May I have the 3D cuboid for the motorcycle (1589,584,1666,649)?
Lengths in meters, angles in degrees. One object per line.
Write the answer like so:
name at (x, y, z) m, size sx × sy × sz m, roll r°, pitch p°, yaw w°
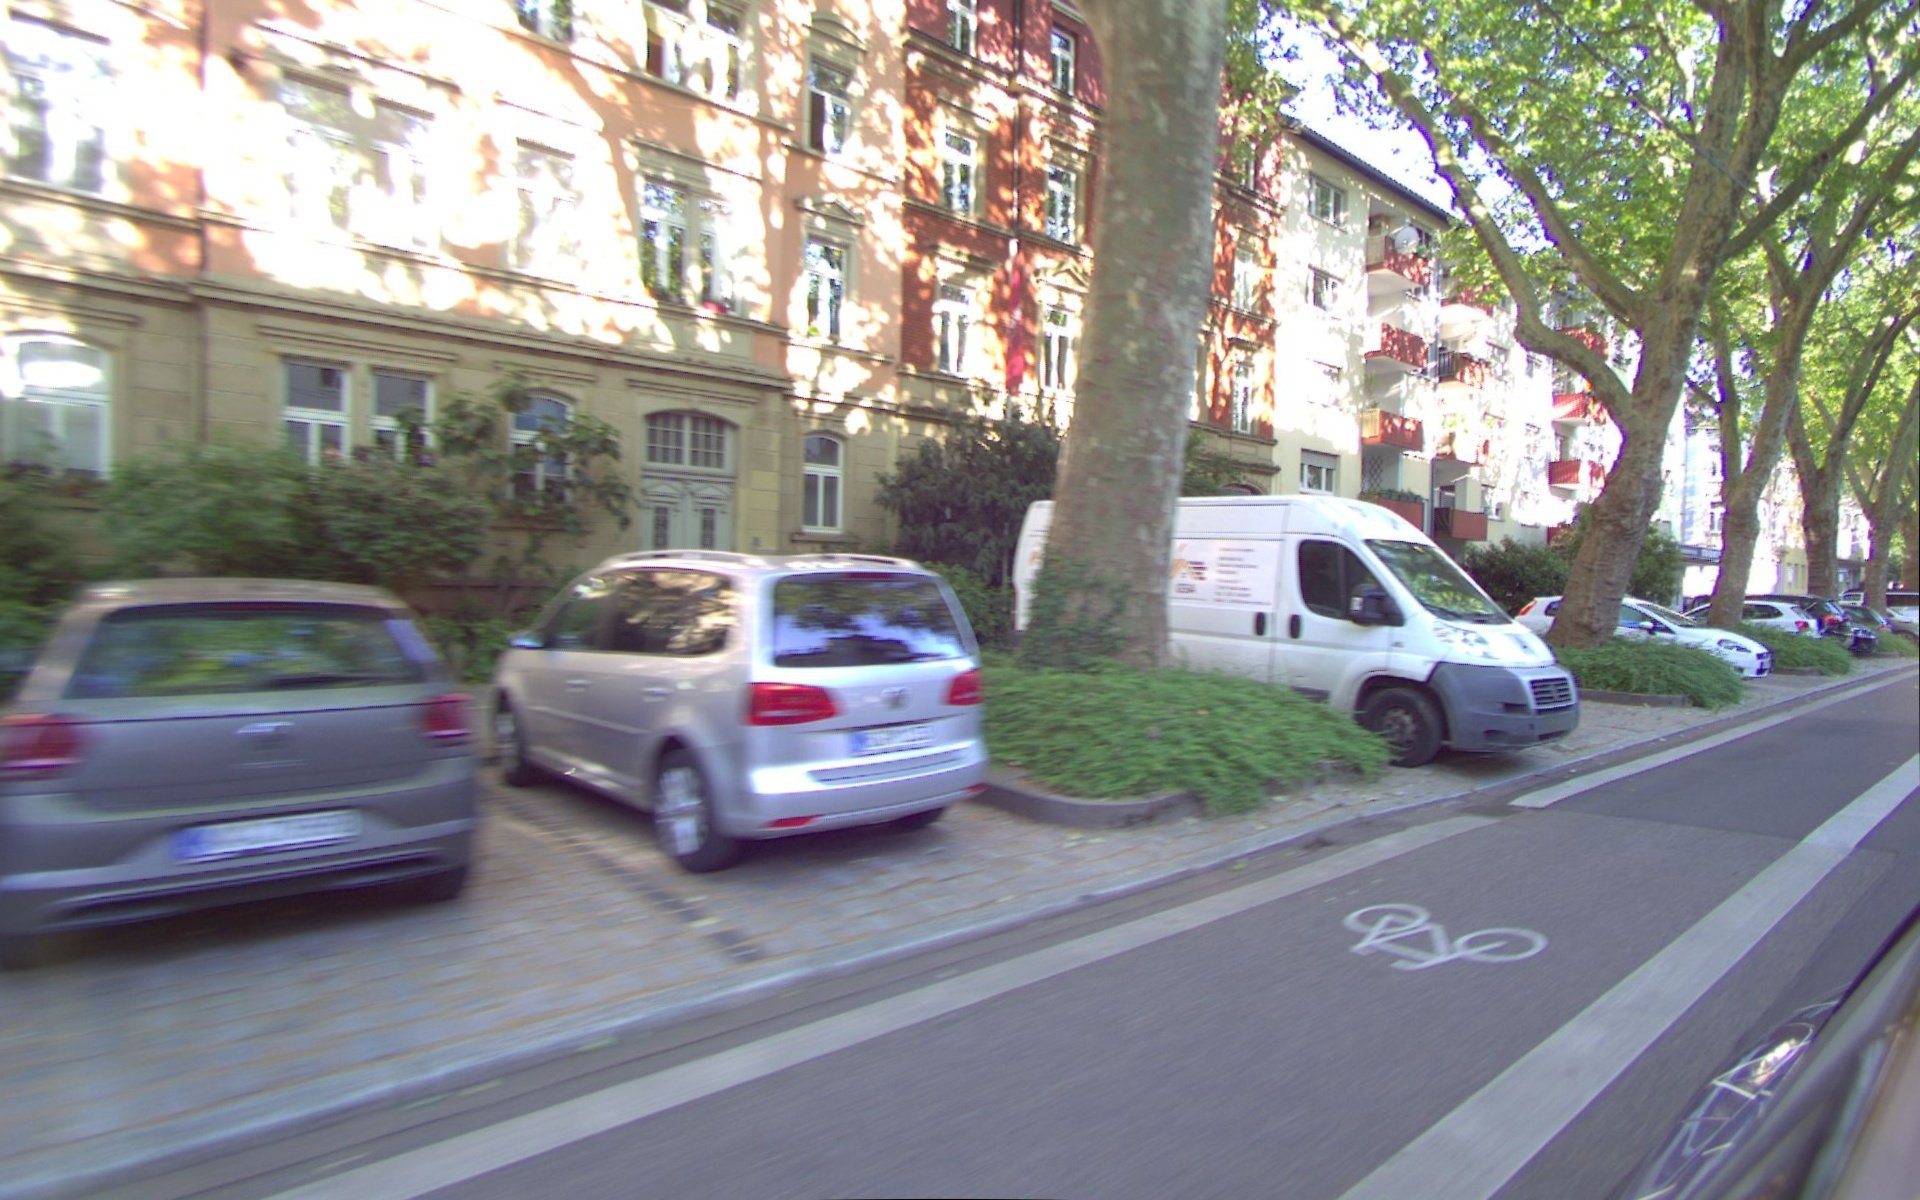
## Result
motorcycle at (16.454, 0.376, 24.907) m, size 2.769 × 1.497 × 0.841 m, roll 0°, pitch 2°, yaw -41°

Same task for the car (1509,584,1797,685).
car at (12.399, 0.530, 18.325) m, size 1.658 × 1.498 × 3.964 m, roll 0°, pitch 2°, yaw -39°

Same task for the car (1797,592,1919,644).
car at (30.066, 0.571, 32.793) m, size 1.877 × 1.499 × 4.207 m, roll 0°, pitch 2°, yaw -39°

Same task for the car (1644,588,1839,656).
car at (19.504, 0.495, 25.366) m, size 1.632 × 1.514 × 3.615 m, roll 0°, pitch 2°, yaw -41°

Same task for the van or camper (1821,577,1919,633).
van or camper at (37.947, 0.202, 41.047) m, size 1.808 × 2.136 × 4.382 m, roll 0°, pitch 2°, yaw -43°

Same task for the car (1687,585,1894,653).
car at (23.218, 0.460, 28.417) m, size 1.713 × 1.673 × 4.297 m, roll 0°, pitch 2°, yaw -42°

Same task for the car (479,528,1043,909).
car at (-1.525, 0.440, 6.508) m, size 1.766 × 1.676 × 3.960 m, roll -1°, pitch 2°, yaw -42°

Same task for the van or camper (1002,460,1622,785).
van or camper at (3.263, 0.065, 10.847) m, size 2.070 × 2.521 × 6.045 m, roll 0°, pitch 2°, yaw -40°

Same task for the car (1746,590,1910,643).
car at (27.688, 0.482, 32.350) m, size 1.672 × 1.461 × 3.829 m, roll 0°, pitch 3°, yaw -44°

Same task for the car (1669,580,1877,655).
car at (21.453, 0.402, 26.832) m, size 1.773 × 1.766 × 4.003 m, roll 1°, pitch 1°, yaw -40°

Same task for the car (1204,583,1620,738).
car at (5.367, 0.594, 12.528) m, size 1.751 × 1.571 × 4.396 m, roll 0°, pitch 0°, yaw -40°

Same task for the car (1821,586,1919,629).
car at (35.911, 0.286, 39.287) m, size 1.648 × 1.550 × 3.568 m, roll 0°, pitch 2°, yaw -42°

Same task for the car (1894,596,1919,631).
car at (41.648, 0.593, 42.279) m, size 1.694 × 1.457 × 3.574 m, roll 0°, pitch 2°, yaw -36°

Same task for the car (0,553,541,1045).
car at (-3.646, 0.539, 5.052) m, size 1.764 × 1.496 × 3.963 m, roll 0°, pitch 2°, yaw -40°
